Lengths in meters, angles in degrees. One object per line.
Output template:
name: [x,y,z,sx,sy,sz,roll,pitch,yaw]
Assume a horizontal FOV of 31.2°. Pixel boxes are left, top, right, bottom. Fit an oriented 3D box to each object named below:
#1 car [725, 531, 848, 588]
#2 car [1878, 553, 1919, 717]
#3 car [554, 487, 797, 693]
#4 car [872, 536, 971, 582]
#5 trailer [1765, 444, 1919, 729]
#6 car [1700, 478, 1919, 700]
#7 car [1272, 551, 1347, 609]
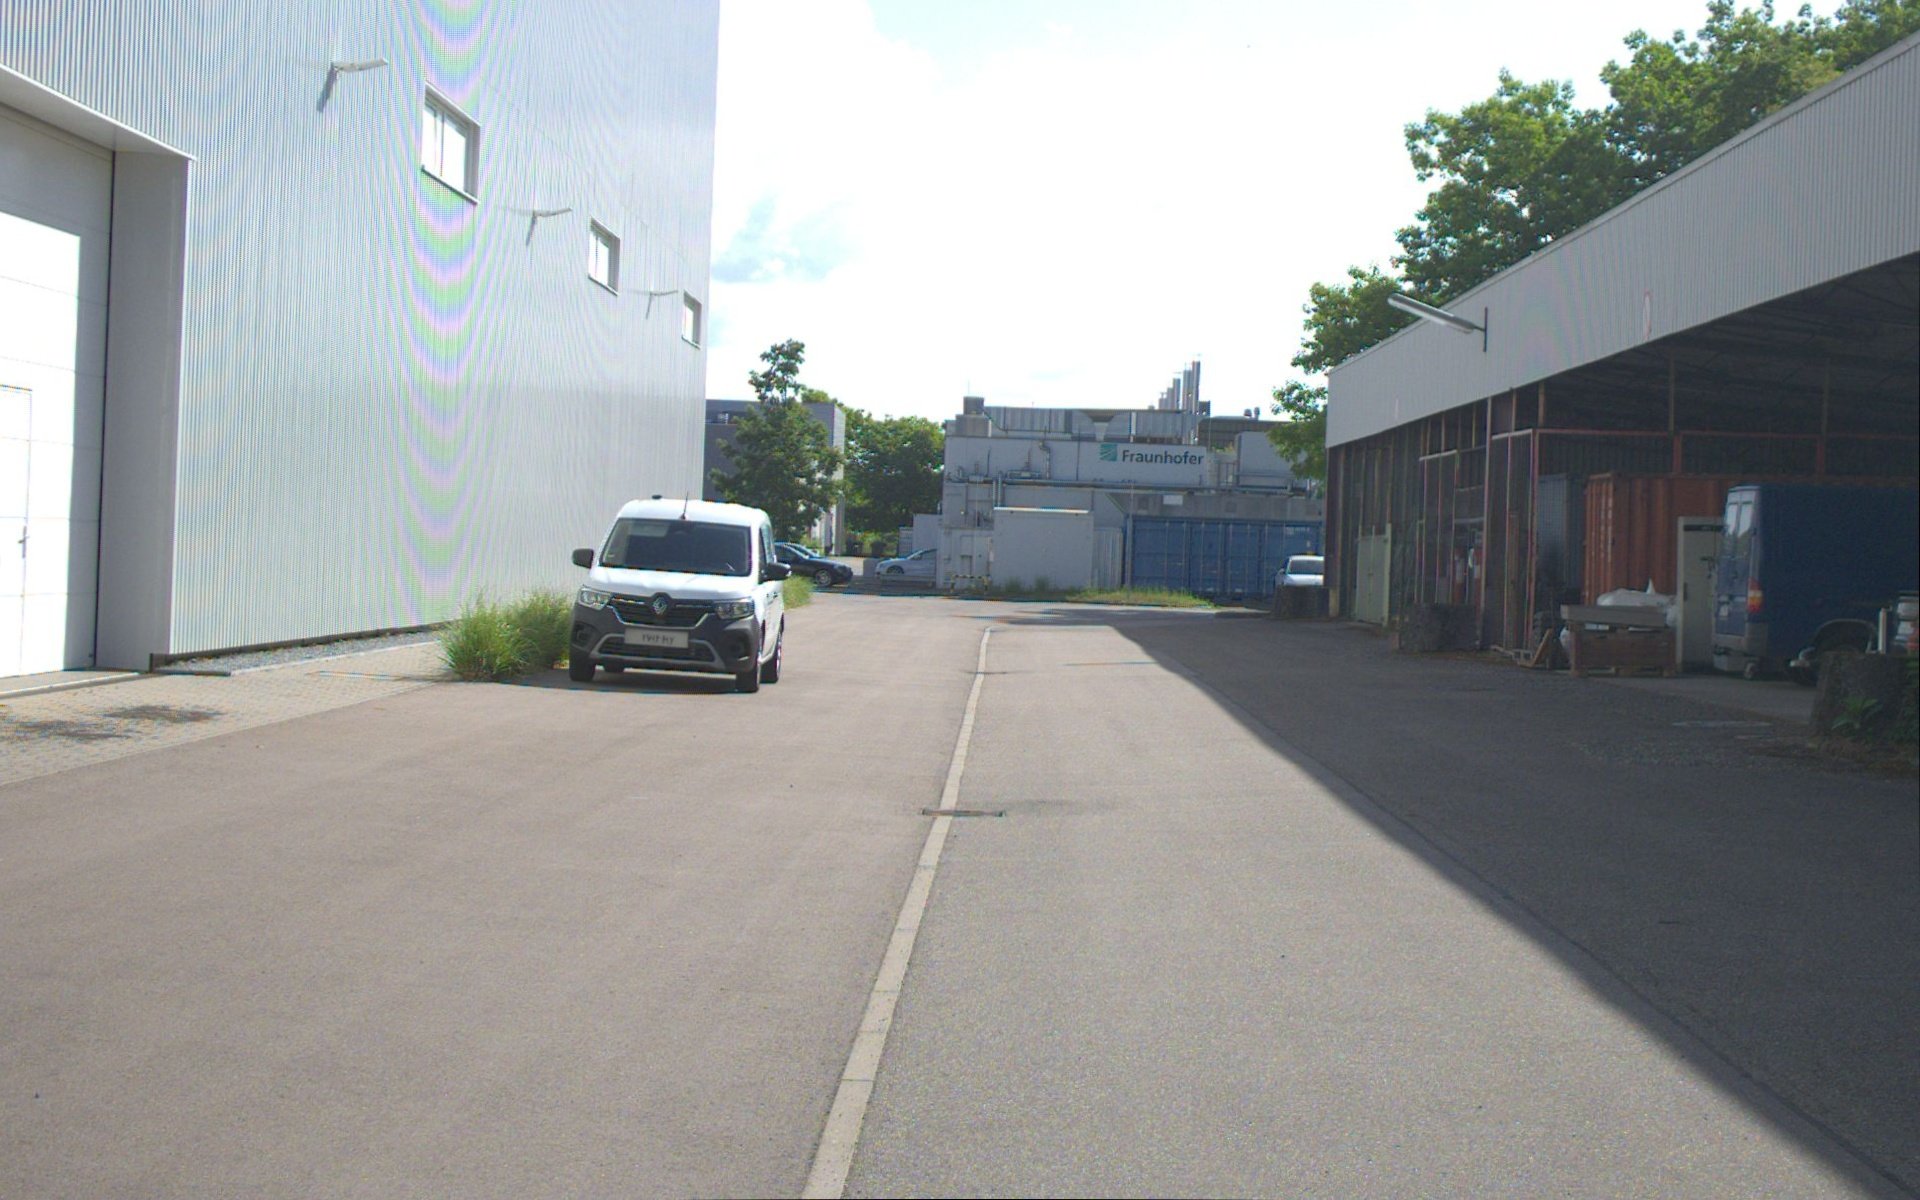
car: [-5.835,-1.360,116.076,3.987,1.592,1.741,4,-1,0]
car: [10.895,0.458,32.270,4.038,1.519,1.684,4,-1,2]
car: [-2.715,-0.137,33.772,1.819,1.781,4.405,4,1,1]
car: [-1.605,-1.713,143.865,3.987,1.592,1.848,4,-1,0]
trailer: [8.521,-0.085,30.052,2.523,2.390,1.727,2,0,2]
car: [10.820,-0.034,38.789,4.433,2.302,1.915,4,-1,2]
car: [10.475,-0.608,103.287,1.962,1.559,4.058,4,1,3]
